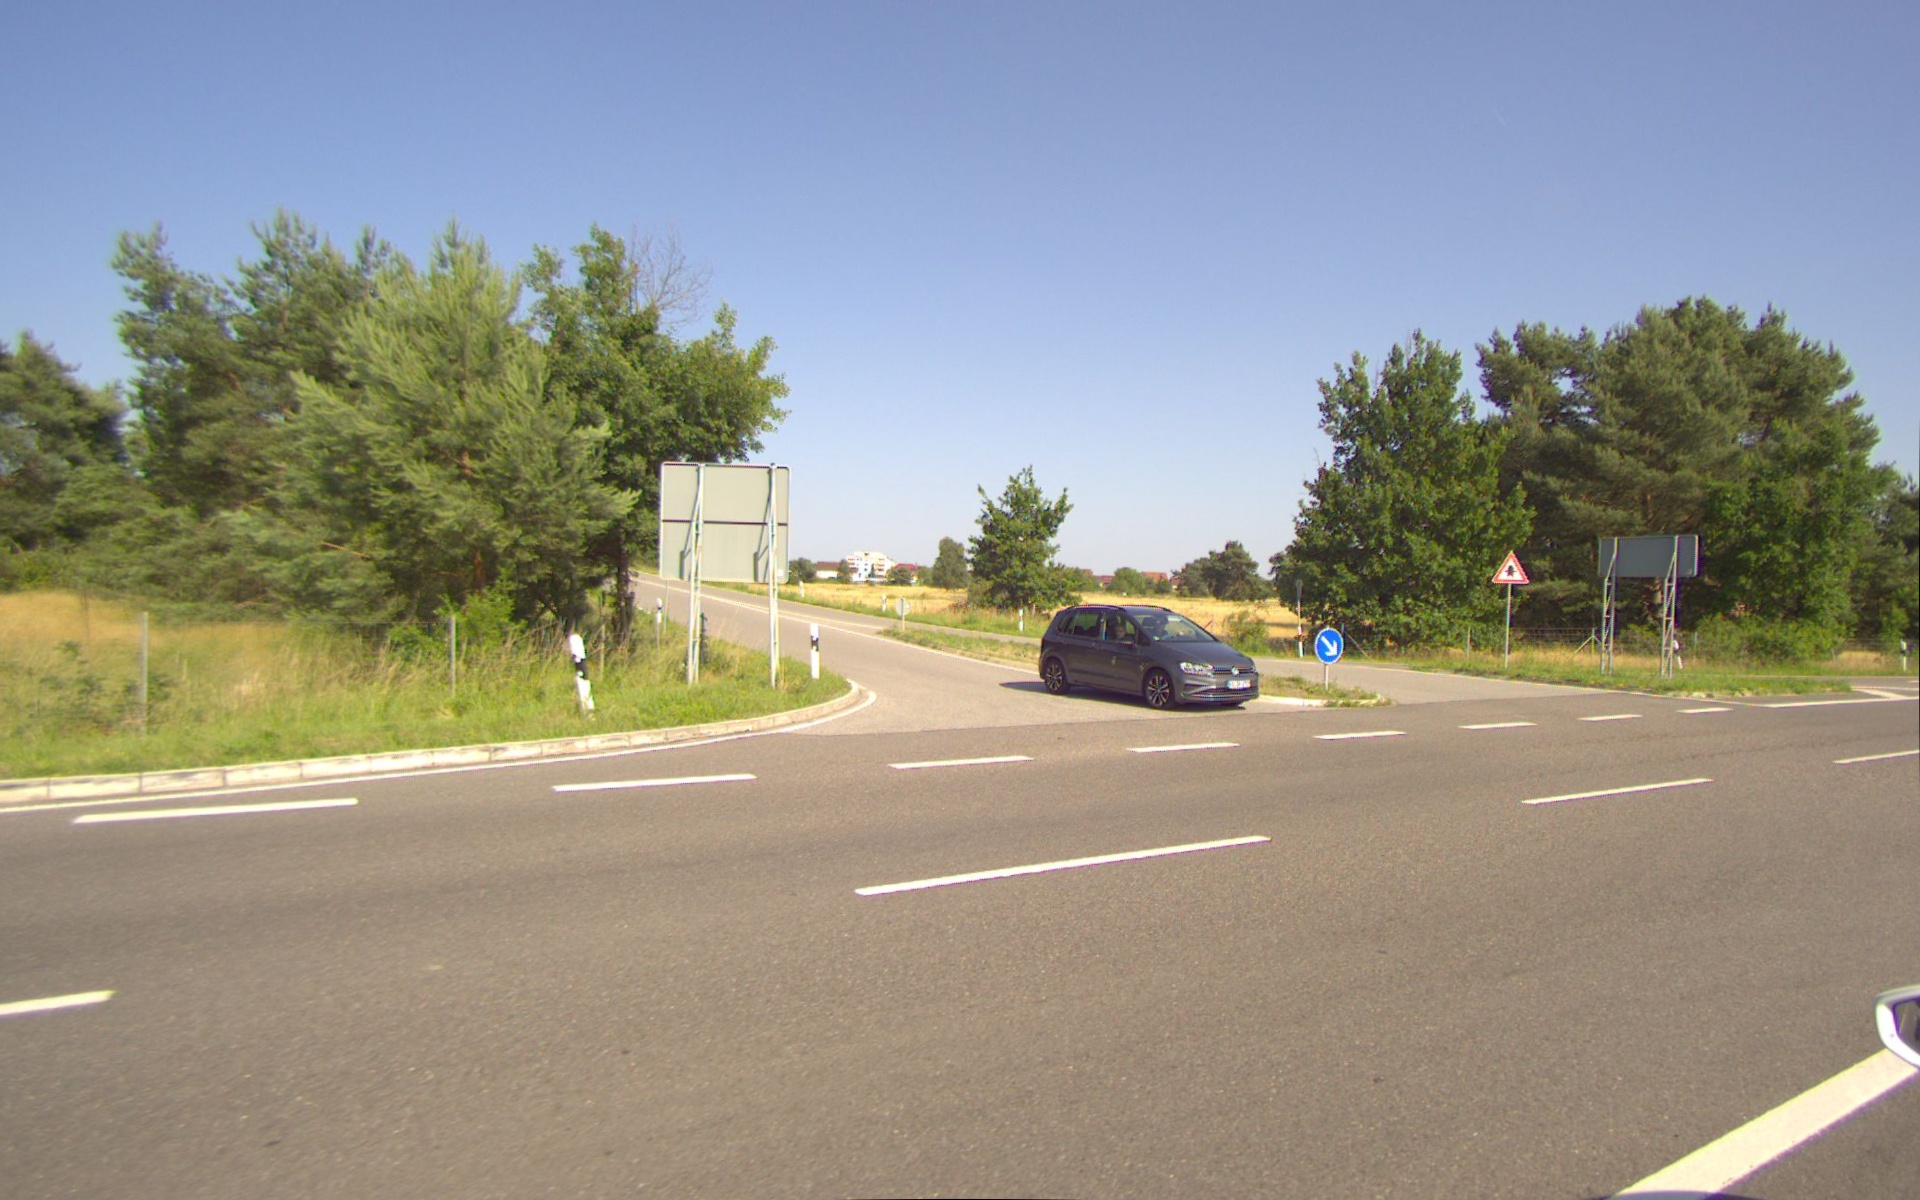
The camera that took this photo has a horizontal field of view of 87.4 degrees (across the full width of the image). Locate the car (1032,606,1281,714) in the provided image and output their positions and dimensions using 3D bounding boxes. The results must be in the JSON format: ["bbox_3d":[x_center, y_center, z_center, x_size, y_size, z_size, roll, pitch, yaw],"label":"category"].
[{"bbox_3d":[3.152,0.908,16.868,1.850,1.562,4.040,1,-1,-32],"label":"car"}]
